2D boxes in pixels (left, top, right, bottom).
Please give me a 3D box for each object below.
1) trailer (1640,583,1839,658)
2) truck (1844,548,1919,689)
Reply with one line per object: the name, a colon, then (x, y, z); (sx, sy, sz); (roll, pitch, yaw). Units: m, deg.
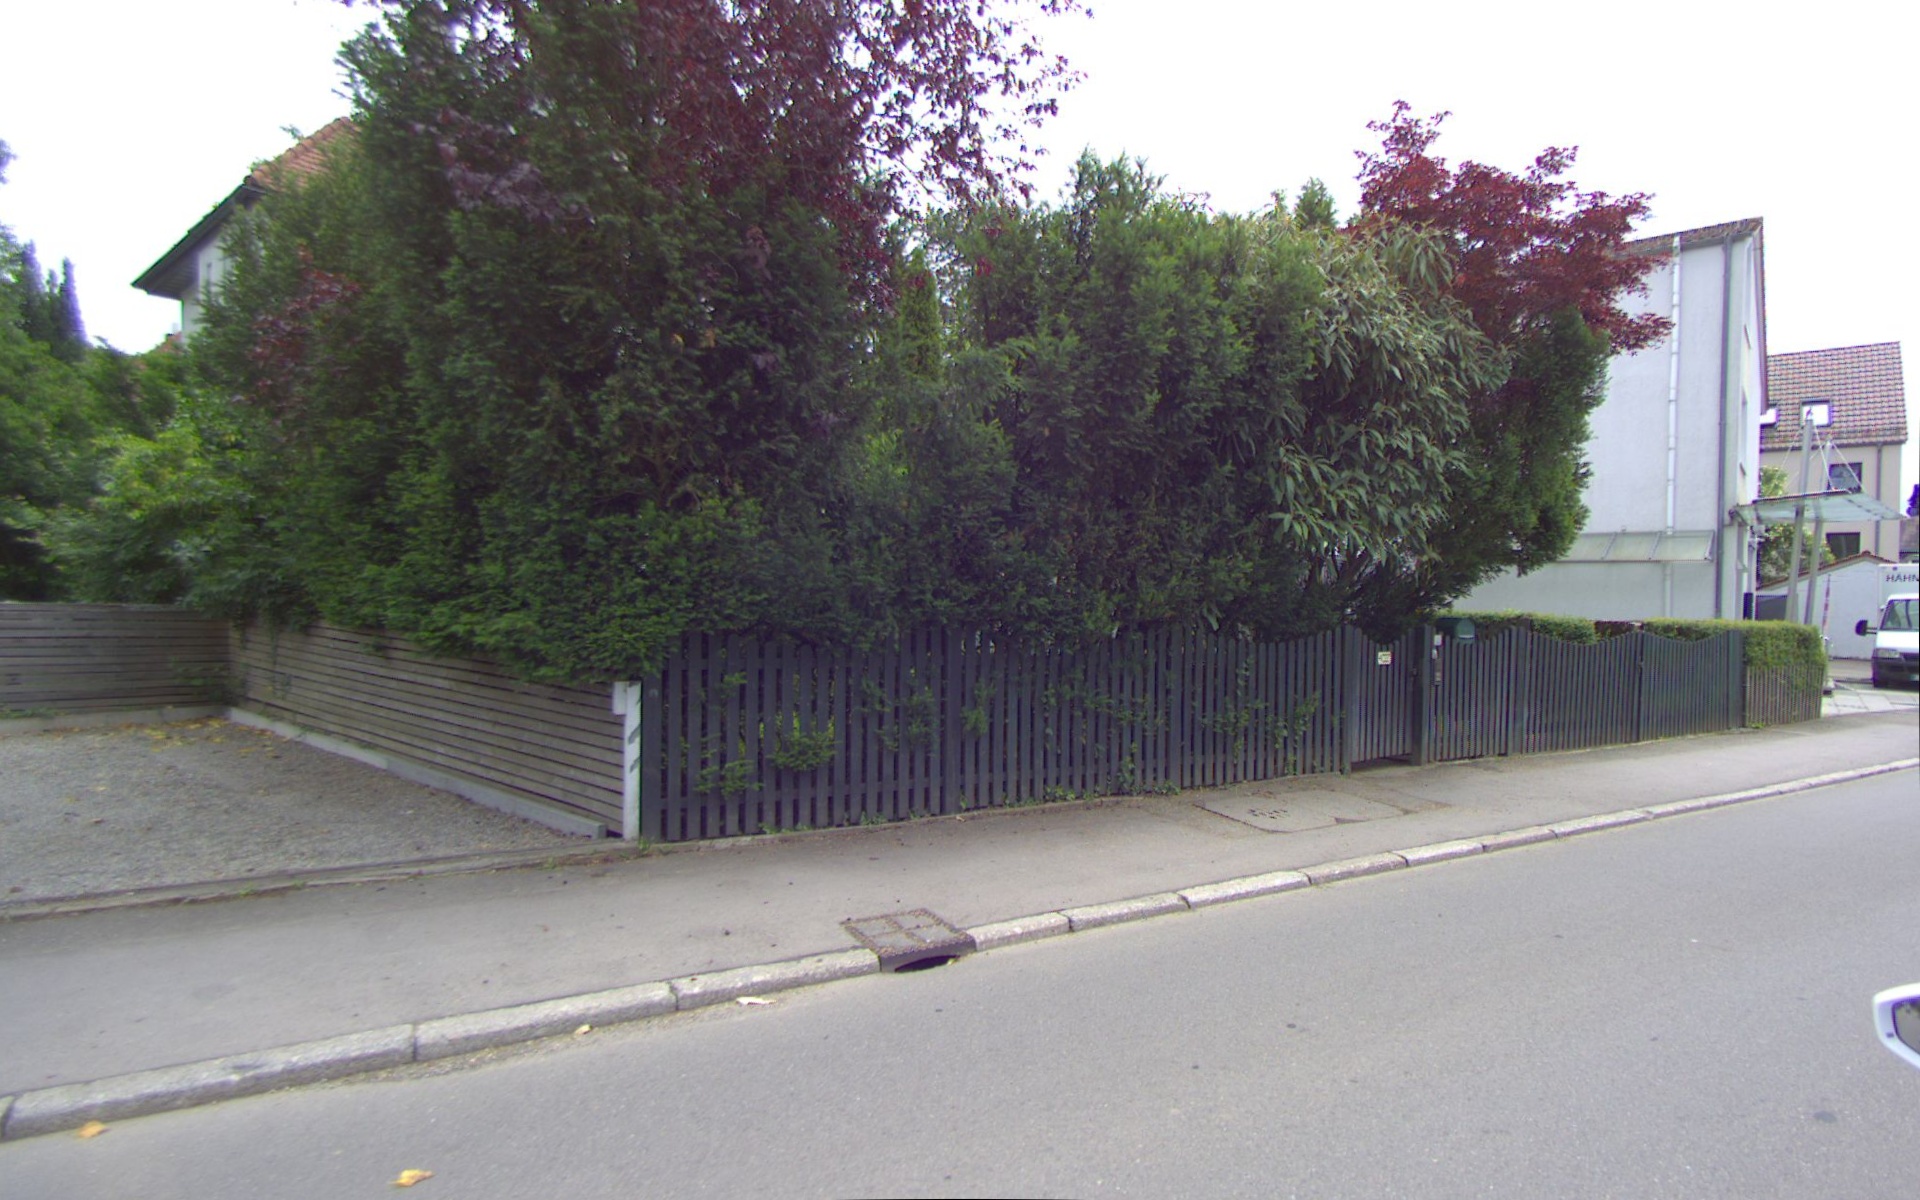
trailer: (25.340, 0.584, 32.849); (1.689, 2.108, 4.822); (-1, 4, -39)
truck: (22.271, 0.442, 22.577); (6.649, 2.878, 2.453); (1, 0, -39)
